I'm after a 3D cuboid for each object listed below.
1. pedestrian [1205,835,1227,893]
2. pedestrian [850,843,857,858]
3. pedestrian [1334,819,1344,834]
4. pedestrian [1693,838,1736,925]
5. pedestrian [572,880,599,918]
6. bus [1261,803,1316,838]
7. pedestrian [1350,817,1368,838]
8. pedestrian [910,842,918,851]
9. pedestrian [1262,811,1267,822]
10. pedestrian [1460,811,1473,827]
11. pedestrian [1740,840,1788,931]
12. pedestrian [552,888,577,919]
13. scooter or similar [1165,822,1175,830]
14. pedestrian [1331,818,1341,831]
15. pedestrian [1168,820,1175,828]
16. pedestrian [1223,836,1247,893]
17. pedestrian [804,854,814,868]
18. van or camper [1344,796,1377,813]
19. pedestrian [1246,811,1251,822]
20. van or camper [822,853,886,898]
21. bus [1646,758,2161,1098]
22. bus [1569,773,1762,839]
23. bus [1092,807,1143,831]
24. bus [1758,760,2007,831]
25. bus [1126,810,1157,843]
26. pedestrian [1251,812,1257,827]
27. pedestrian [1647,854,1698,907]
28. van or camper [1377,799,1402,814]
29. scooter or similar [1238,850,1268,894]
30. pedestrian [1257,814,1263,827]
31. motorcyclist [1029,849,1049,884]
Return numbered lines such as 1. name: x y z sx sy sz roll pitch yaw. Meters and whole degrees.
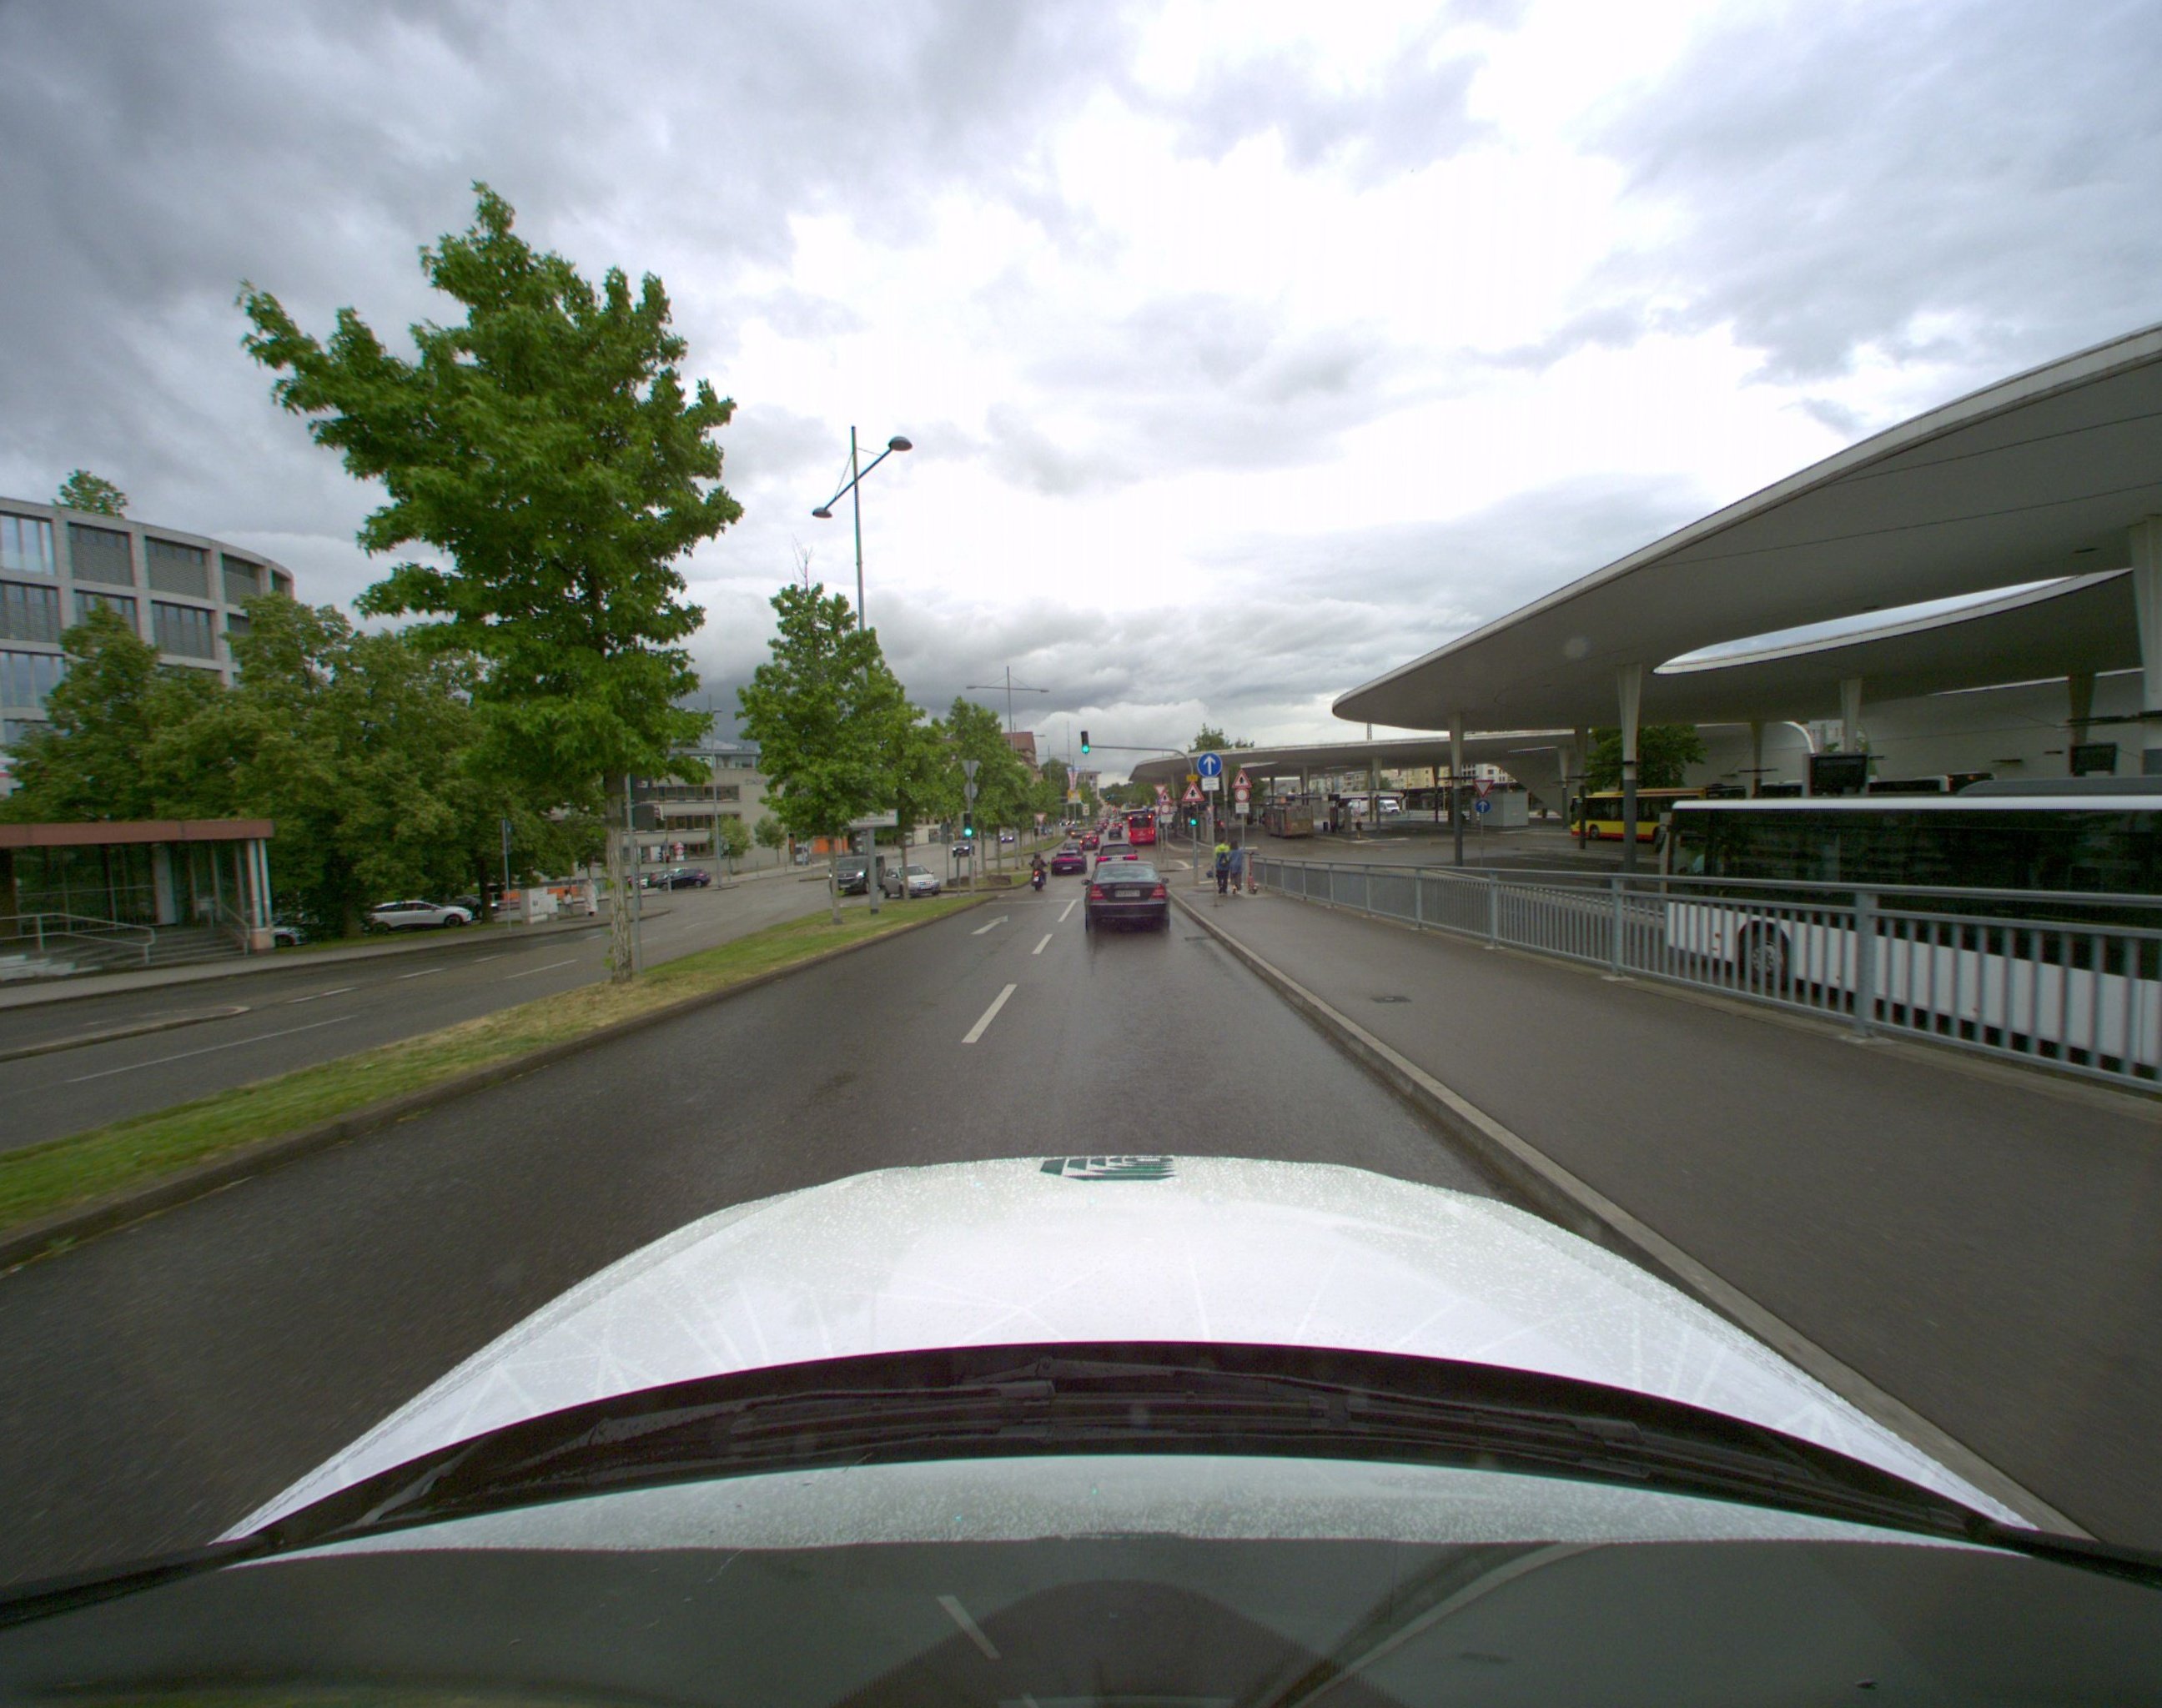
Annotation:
1. pedestrian: 3.975 0.299 23.964 0.520 1.670 0.581 -2 0 2
2. pedestrian: -27.140 -0.429 97.203 0.471 1.683 0.765 -4 3 9
3. pedestrian: 24.869 -2.681 78.559 0.786 1.377 0.637 -3 3 19
4. pedestrian: 14.427 0.605 18.561 0.589 1.886 0.641 -5 5 -41
5. pedestrian: -21.741 1.967 35.751 0.649 1.570 0.631 -5 0 3
6. bus: 20.510 -3.439 81.338 2.711 3.042 12.100 -4 3 3
7. pedestrian: 22.655 -2.140 66.369 0.720 1.683 1.013 -6 3 -23
8. pedestrian: -25.275 -1.125 123.282 0.967 1.267 0.854 1 4 23
9. pedestrian: 26.411 -5.349 117.246 0.573 1.578 0.565 0 -1 37
10. pedestrian: 37.953 -3.456 80.177 0.793 1.585 0.907 -2 2 -4
11. pedestrian: 15.006 0.674 17.897 0.589 1.903 0.642 -9 5 -36
12. pedestrian: -22.686 2.157 35.770 0.651 1.292 0.629 -5 0 -11
13. scooter or similar: 12.820 -4.007 117.189 1.233 1.012 0.768 -3 2 16
14. pedestrian: 25.220 -2.886 80.545 0.786 1.226 0.637 -3 3 19
15. pedestrian: 13.033 -4.294 116.862 0.906 0.985 0.636 -2 -1 16
16. pedestrian: 4.503 0.310 23.870 0.587 1.670 0.580 -1 -2 2
17. pedestrian: -28.219 0.740 84.620 0.676 1.392 0.721 -4 2 0
18. van or camper: 45.428 -8.051 132.344 4.591 2.557 2.119 -1 1 1
19. pedestrian: 24.056 -5.332 117.015 0.573 1.578 0.565 0 -1 32
20. van or camper: -11.933 1.095 43.185 2.214 2.072 5.272 -5 0 -6
21. bus: 12.167 0.631 9.492 2.834 3.360 12.437 0 4 2
22. bus: 33.762 -2.711 48.032 2.779 3.256 12.145 -3 2 1
23. bus: 6.995 -6.760 157.834 2.861 3.986 11.731 -6 3 -36
24. bus: 43.697 -3.207 45.318 2.456 3.256 11.982 -4 4 3
25. bus: 6.939 -3.289 94.365 3.277 3.288 8.860 -4 3 3
26. pedestrian: 24.122 -4.820 113.626 0.716 2.014 0.674 0 -1 29
27. pedestrian: 15.515 0.683 21.378 0.954 1.254 0.644 -7 5 -22
28. van or camper: 47.613 -7.344 125.904 1.986 2.102 5.483 -1 1 2
29. scooter or similar: 5.011 0.506 23.785 0.462 1.221 1.860 -4 -1 2
30. pedestrian: 23.321 -4.324 106.174 0.559 1.691 0.613 -3 3 -4
31. motorcyclist: -1.736 0.525 33.741 0.638 1.347 0.690 -4 3 6
